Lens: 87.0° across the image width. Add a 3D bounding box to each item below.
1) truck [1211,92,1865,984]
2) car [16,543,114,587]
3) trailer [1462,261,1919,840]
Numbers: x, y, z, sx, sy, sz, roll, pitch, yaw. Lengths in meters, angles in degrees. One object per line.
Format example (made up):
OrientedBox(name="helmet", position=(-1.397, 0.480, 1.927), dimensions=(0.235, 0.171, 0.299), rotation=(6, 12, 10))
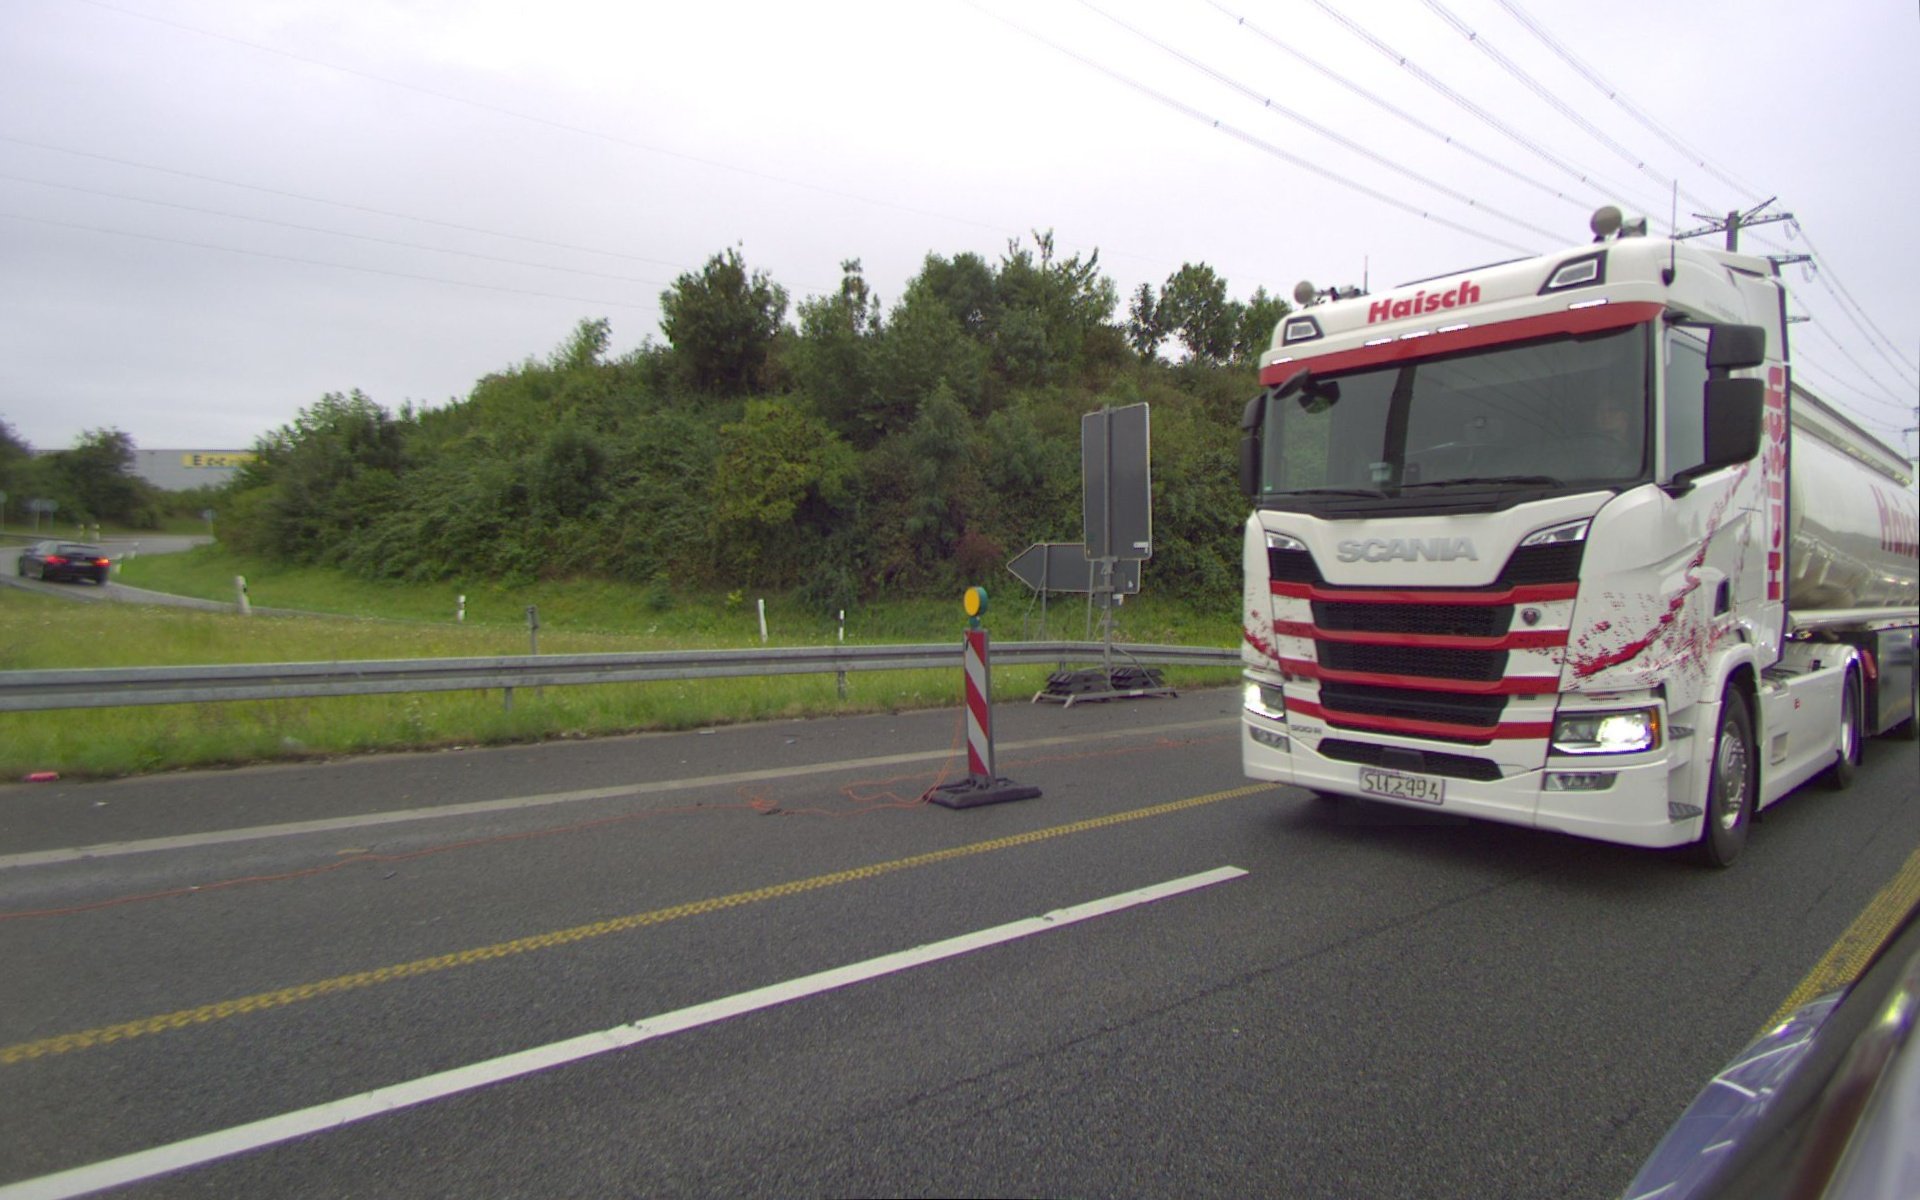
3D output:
OrientedBox(name="truck", position=(3.971, -0.304, 6.785), dimensions=(3.960, 3.940, 2.649), rotation=(-1, 0, -41))
OrientedBox(name="car", position=(-32.914, -1.292, 37.168), dimensions=(4.572, 1.466, 1.972), rotation=(3, 2, 39))
OrientedBox(name="trailer", position=(9.182, -0.409, 11.314), dimensions=(10.360, 3.942, 2.642), rotation=(-1, 0, -41))
